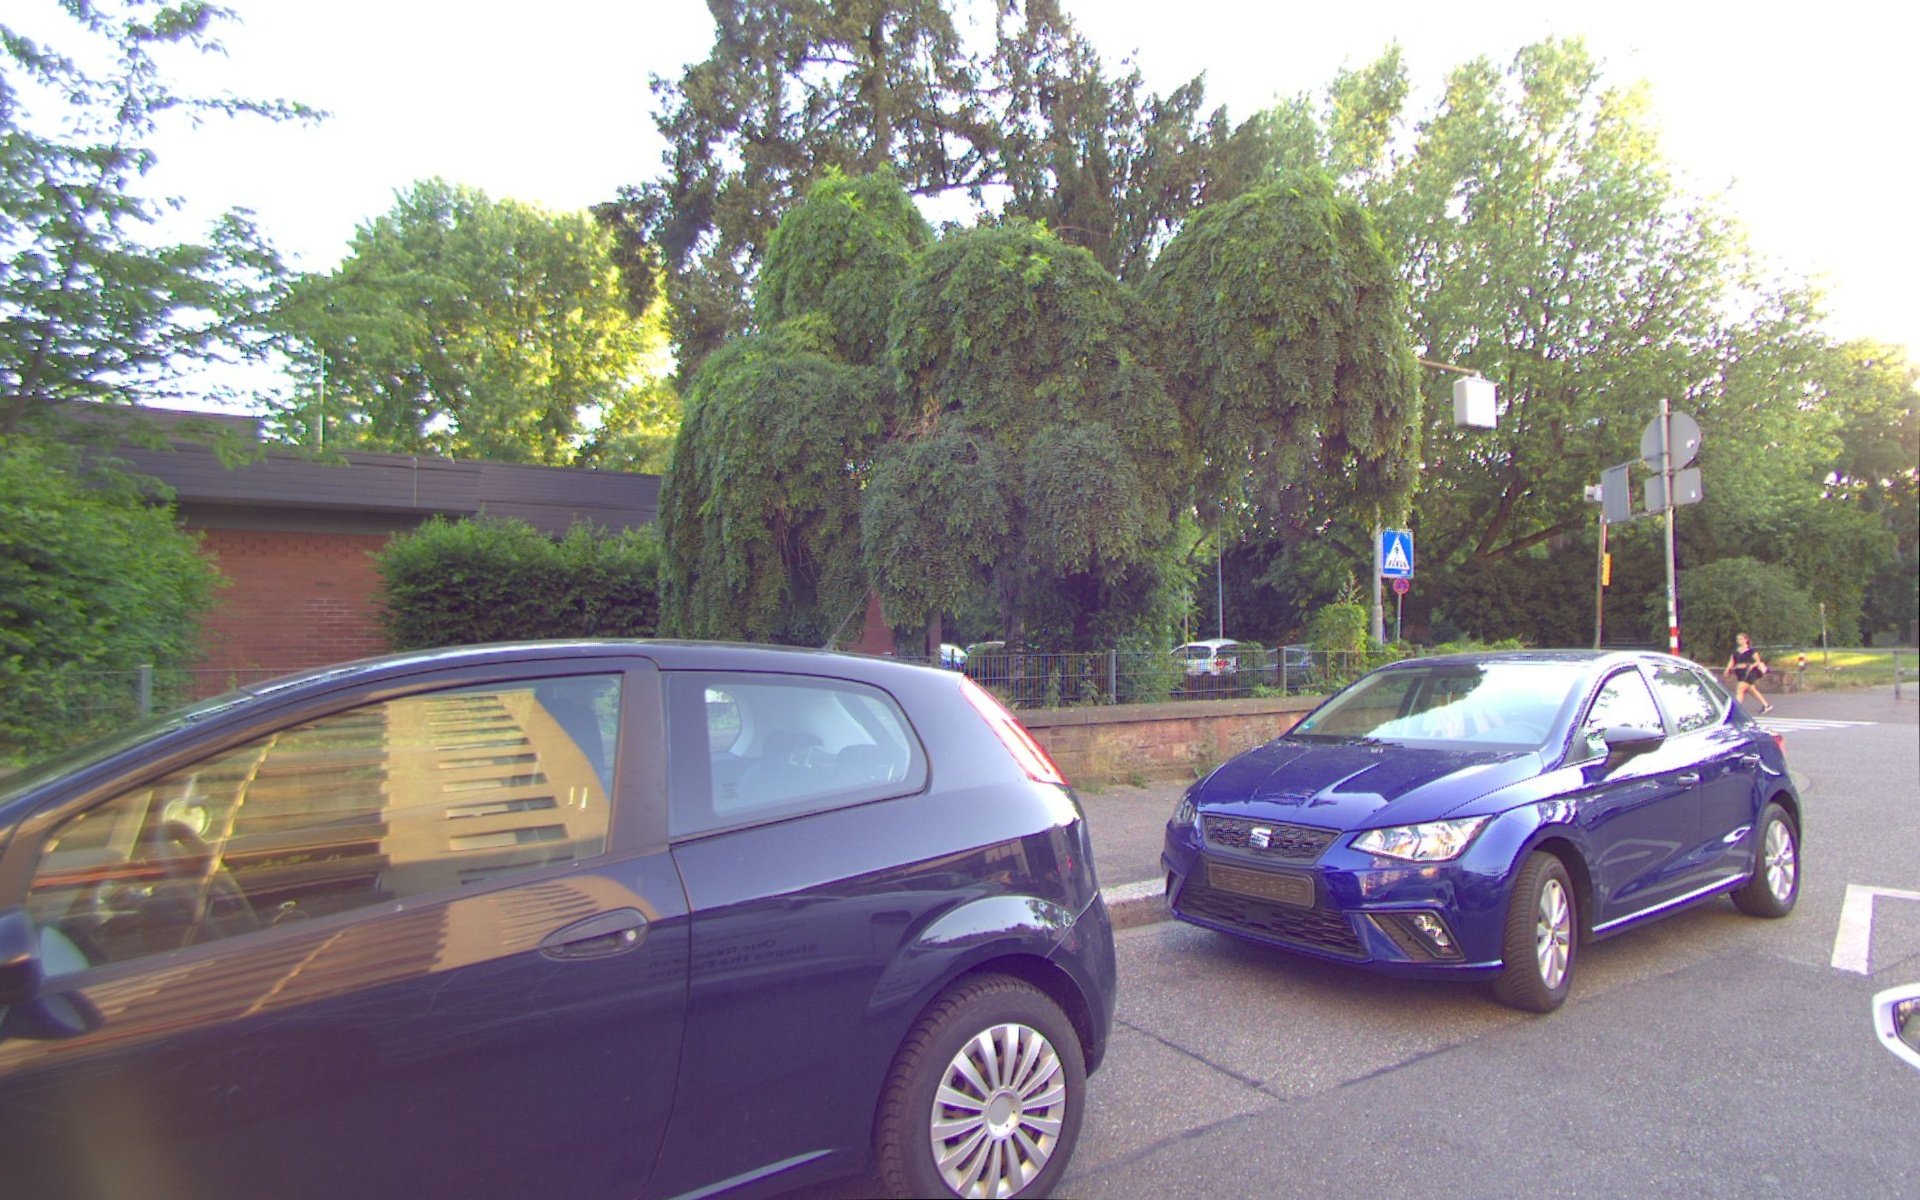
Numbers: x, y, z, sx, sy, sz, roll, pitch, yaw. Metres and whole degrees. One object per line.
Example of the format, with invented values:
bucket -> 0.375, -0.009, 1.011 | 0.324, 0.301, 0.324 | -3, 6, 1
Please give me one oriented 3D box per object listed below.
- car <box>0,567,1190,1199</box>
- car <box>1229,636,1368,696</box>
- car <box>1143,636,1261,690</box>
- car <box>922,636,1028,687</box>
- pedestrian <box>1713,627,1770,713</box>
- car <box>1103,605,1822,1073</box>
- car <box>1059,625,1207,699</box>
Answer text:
car -> -1.361, 0.807, 2.490 | 3.659, 1.587, 1.723 | 1, -4, -34
car -> 10.242, 1.978, 30.650 | 1.798, 1.511, 3.843 | -6, 0, -24
car -> 8.353, 2.186, 35.021 | 1.800, 1.583, 3.856 | -6, 0, -27
car -> 0.457, 2.142, 34.705 | 1.801, 1.564, 4.211 | 4, -5, -28
pedestrian -> 15.735, 1.397, 20.245 | 0.660, 1.671, 0.649 | 0, 0, 6
car -> 2.733, 0.893, 5.234 | 3.752, 1.587, 1.723 | 1, -4, -35
car -> 4.661, 1.735, 27.677 | 1.801, 1.821, 4.211 | 4, -5, -28
